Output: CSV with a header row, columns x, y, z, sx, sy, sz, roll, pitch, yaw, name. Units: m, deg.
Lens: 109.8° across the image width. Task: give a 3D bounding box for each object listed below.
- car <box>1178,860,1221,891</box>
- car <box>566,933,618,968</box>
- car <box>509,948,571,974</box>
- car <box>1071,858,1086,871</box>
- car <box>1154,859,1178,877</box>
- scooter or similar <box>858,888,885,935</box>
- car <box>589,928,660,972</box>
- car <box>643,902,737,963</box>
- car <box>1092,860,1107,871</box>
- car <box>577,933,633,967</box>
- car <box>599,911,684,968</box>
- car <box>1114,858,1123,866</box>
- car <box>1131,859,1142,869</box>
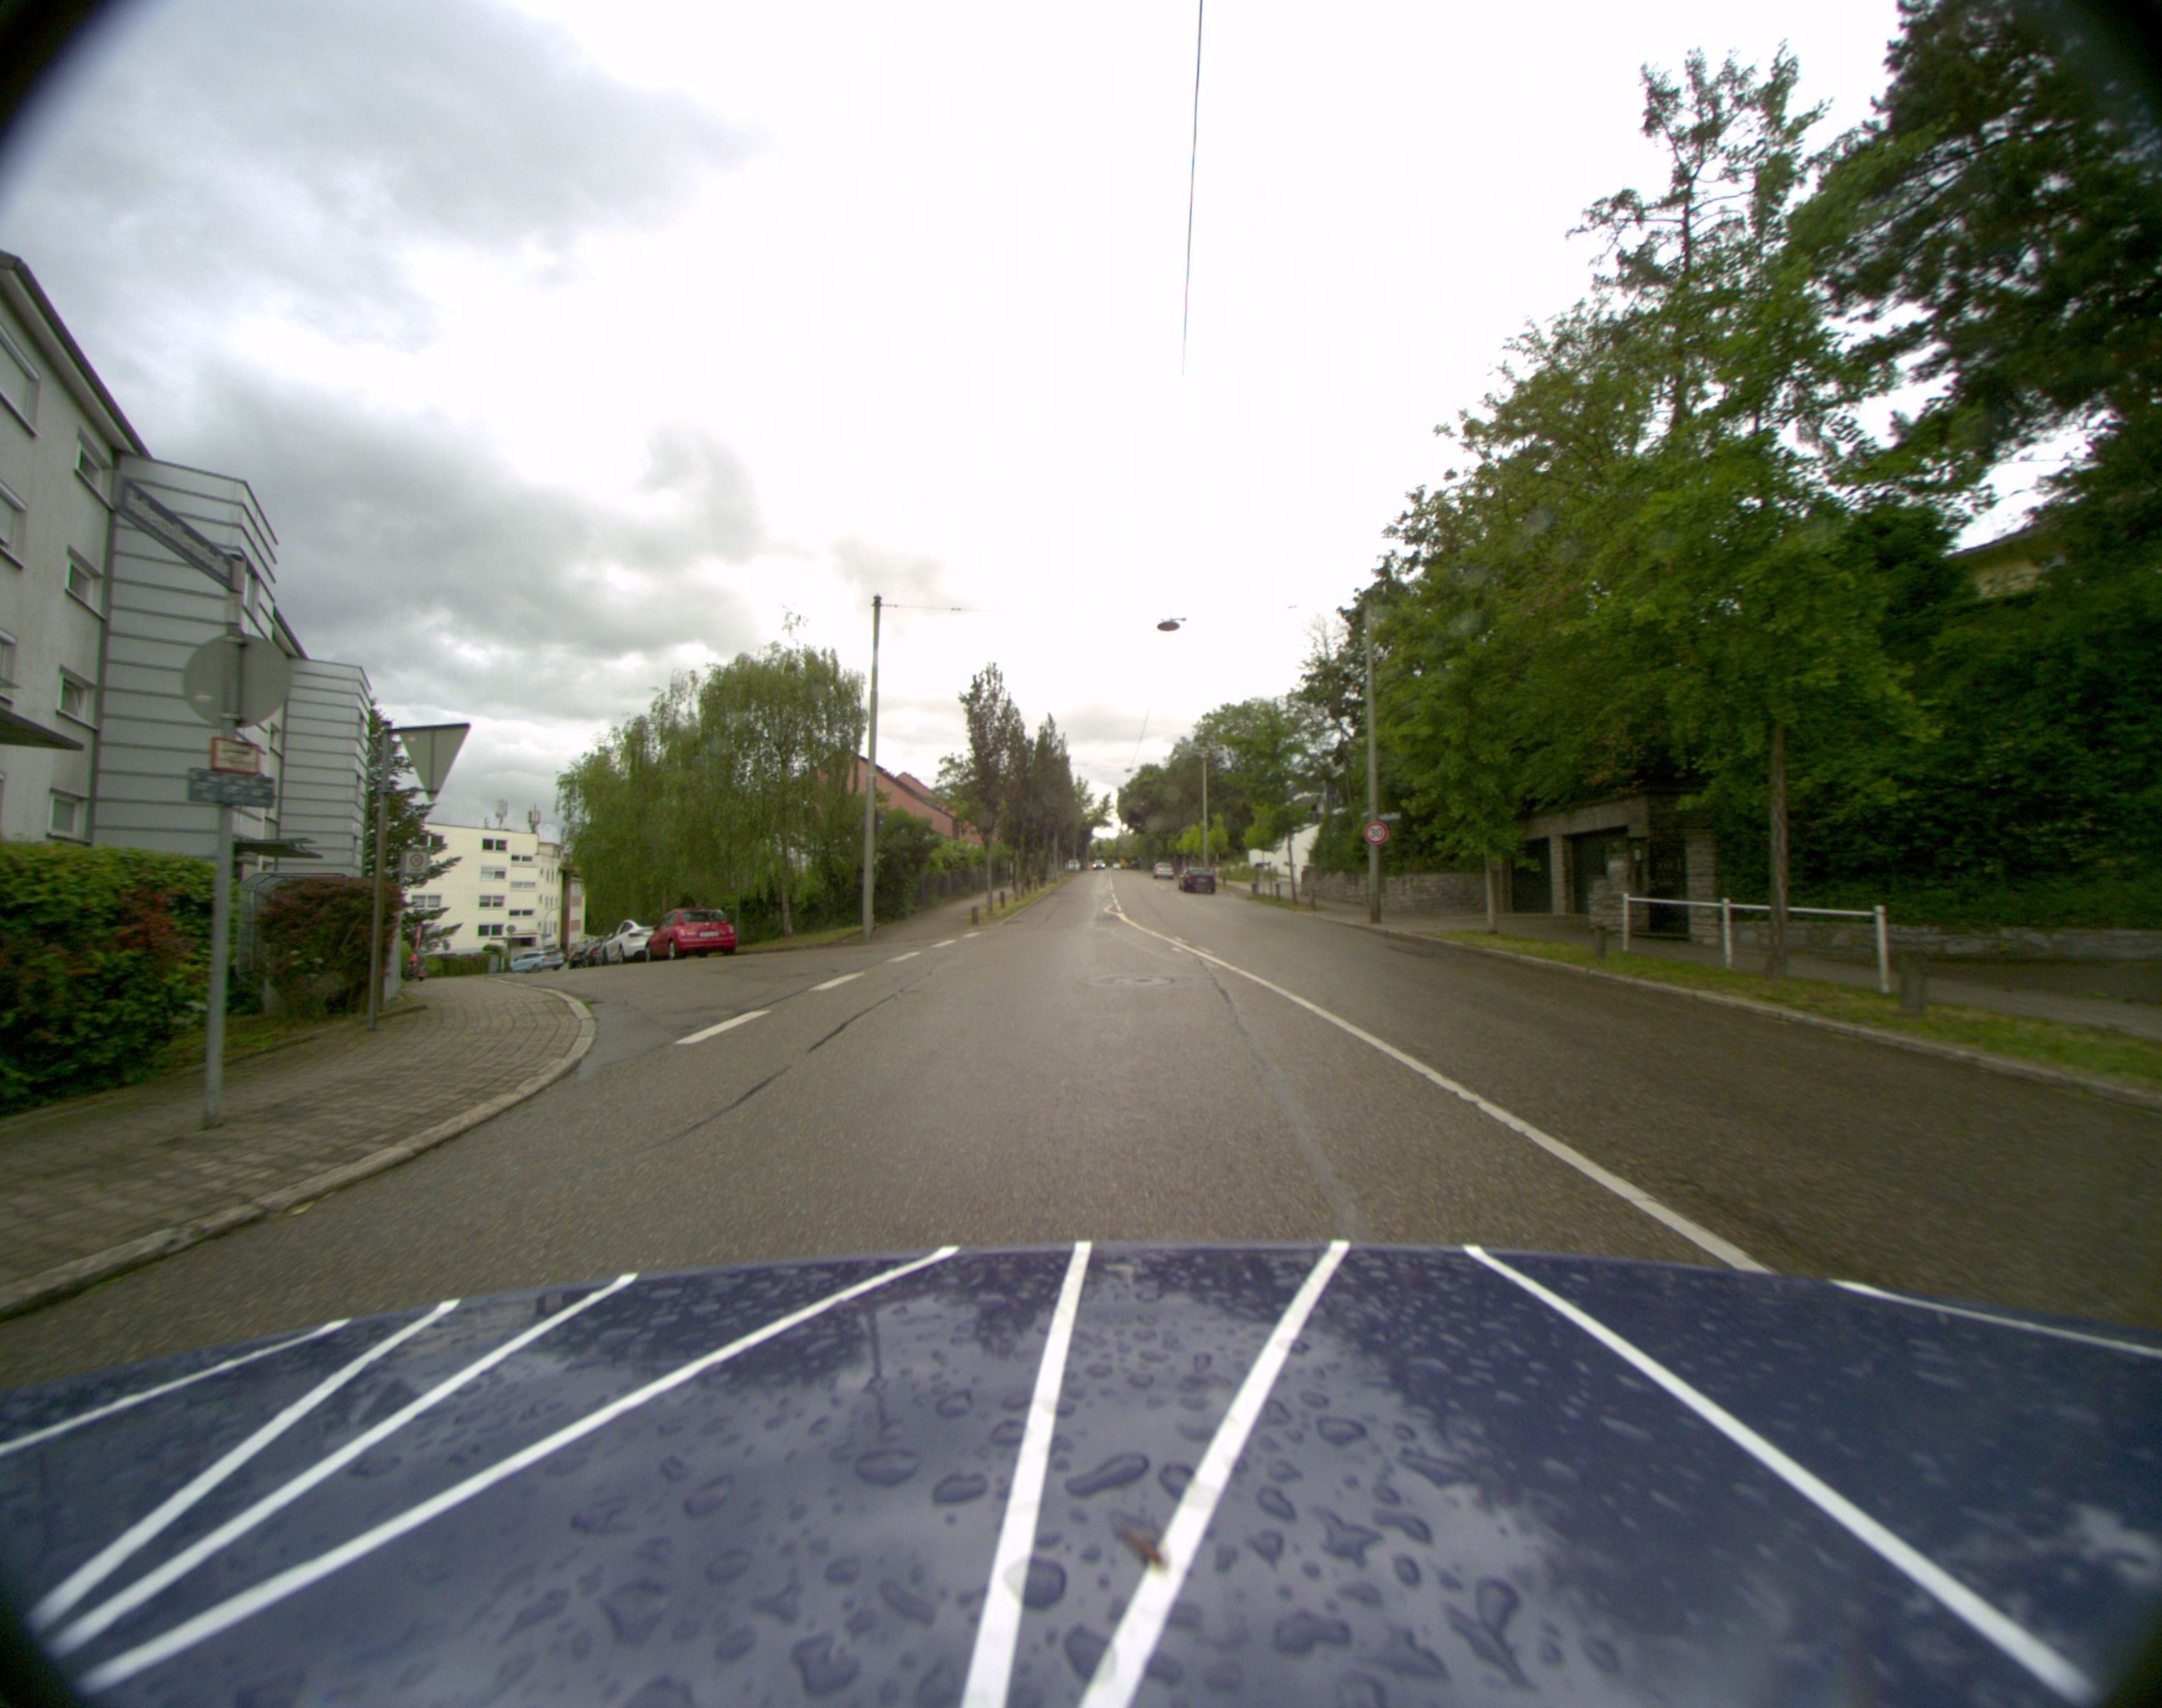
x,y,z,sx,sy,sz,roll,pitch,yaw,name
6.817,1.202,44.182,1.916,1.576,4.587,3,0,3,car
-26.342,5.181,40.900,2.003,1.585,3.993,-3,-5,-37,car
-44.241,8.776,62.167,3.993,1.806,1.843,-3,-1,13,car
-0.281,1.388,97.587,1.829,1.620,4.000,0,0,0,car
7.635,1.212,68.240,1.769,1.477,3.802,3,0,2,car
-6.108,1.671,22.189,0.343,1.247,1.267,-3,1,1,scooter or similar
-18.638,3.940,30.937,1.730,1.412,4.294,-2,-6,-40,car
-11.445,2.312,22.150,1.648,1.512,3.563,0,-7,-40,car
2.953,1.796,118.187,1.998,1.673,4.002,-3,-1,5,car
-22.197,4.465,35.378,1.598,1.370,3.891,-2,-4,-40,car
-15.175,2.986,26.113,1.730,1.531,4.366,-2,-7,-40,car
7.858,1.673,158.798,1.766,1.477,4.000,1,1,2,car
9.449,1.665,129.425,1.749,1.540,3.918,3,0,1,car
